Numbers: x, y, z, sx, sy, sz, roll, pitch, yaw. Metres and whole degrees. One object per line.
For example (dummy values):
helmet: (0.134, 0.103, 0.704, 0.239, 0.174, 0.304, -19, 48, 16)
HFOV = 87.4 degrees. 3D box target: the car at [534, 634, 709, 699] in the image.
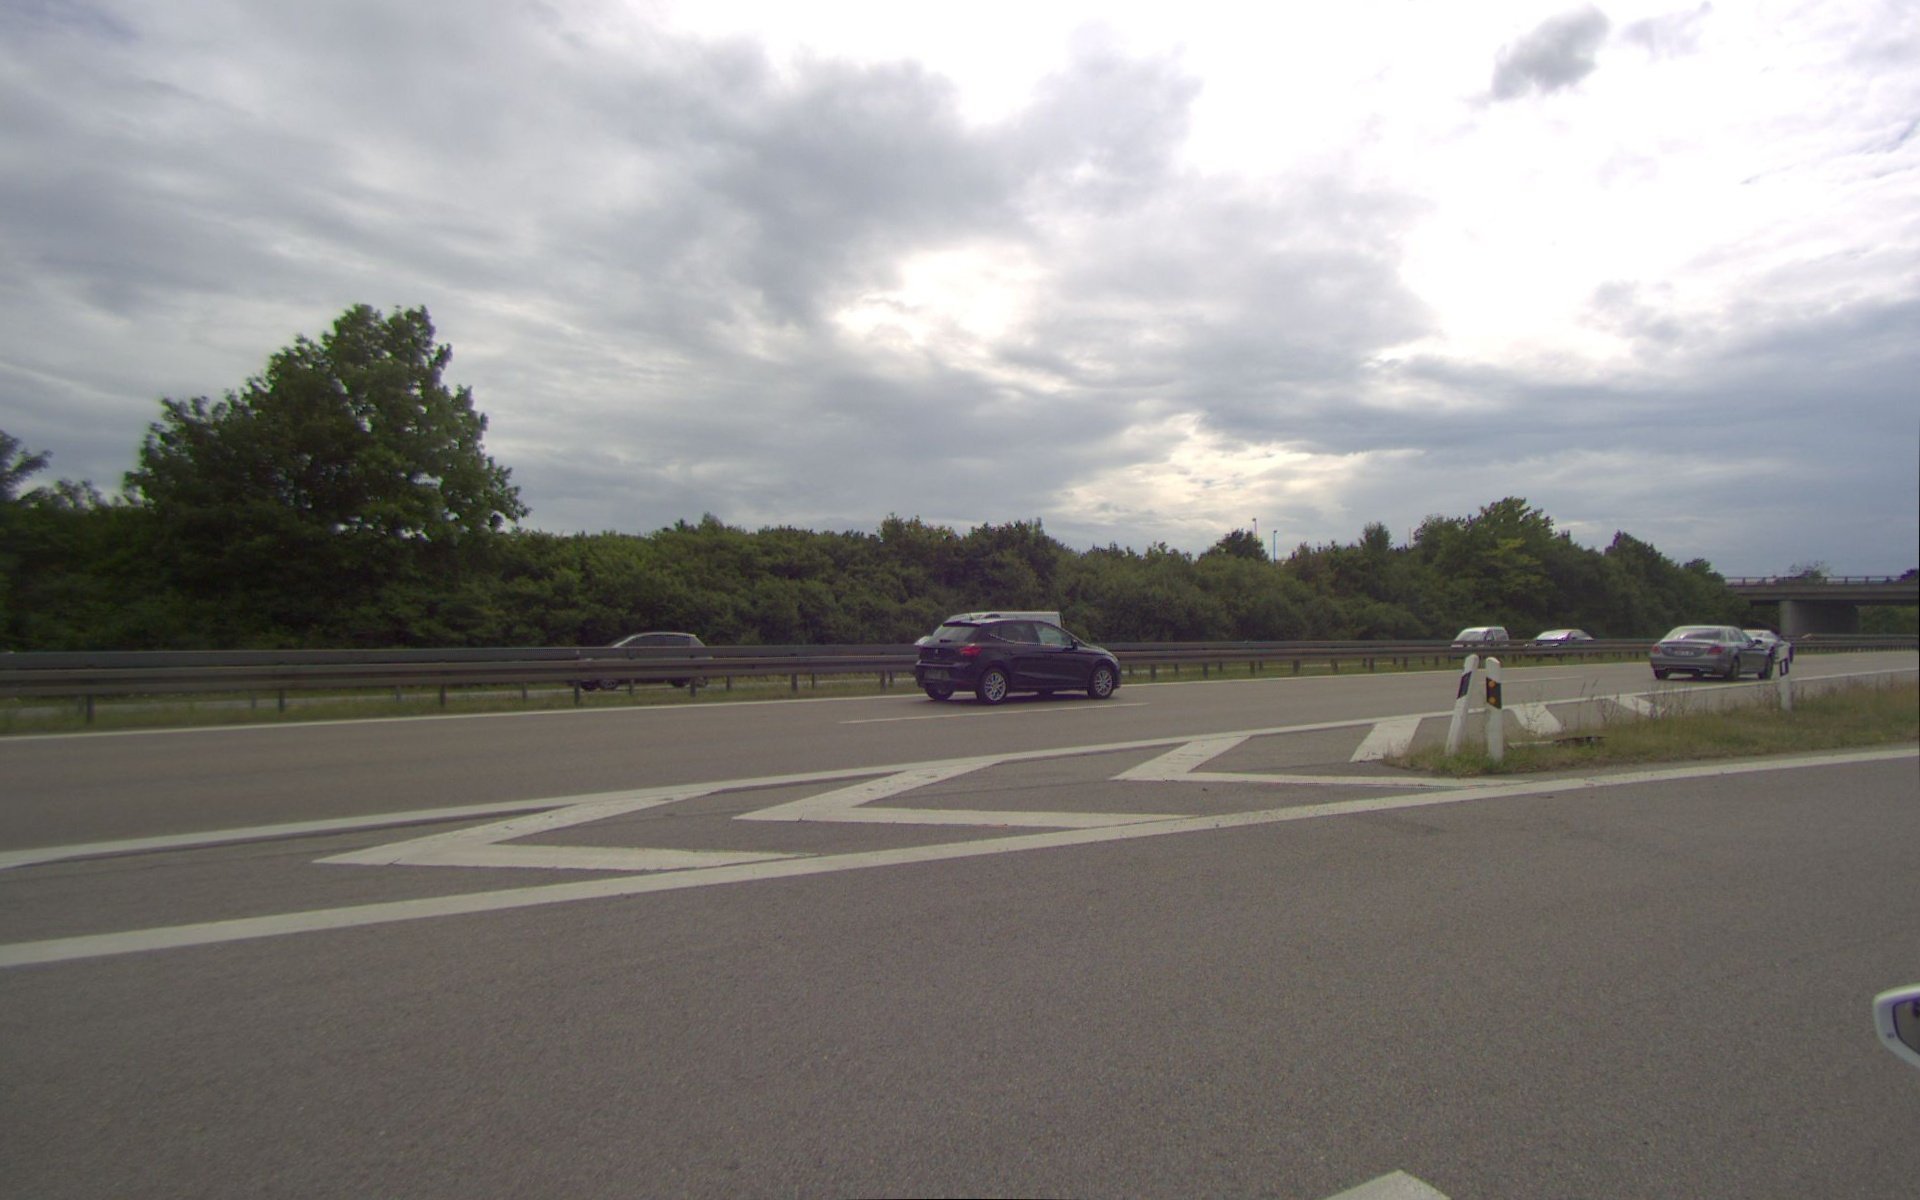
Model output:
car: (-8.858, 1.688, 26.385, 3.962, 1.539, 1.980, 1, -2, -37)

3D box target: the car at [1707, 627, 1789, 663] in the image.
car: (33.307, 1.880, 42.411, 4.268, 1.417, 1.766, 1, -2, -38)

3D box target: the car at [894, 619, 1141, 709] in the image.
car: (1.093, 1.074, 17.954, 4.264, 1.417, 1.768, 1, -1, -36)

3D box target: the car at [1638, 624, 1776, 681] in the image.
car: (20.261, 1.374, 27.181, 4.507, 1.417, 1.768, 1, -1, -36)

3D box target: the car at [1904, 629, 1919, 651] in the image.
car: (64.728, 2.684, 67.201, 4.269, 1.417, 1.766, 1, -2, -39)

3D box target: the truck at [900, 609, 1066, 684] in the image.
truck: (0.723, 1.315, 29.358, 4.676, 2.040, 1.979, 1, -2, -38)

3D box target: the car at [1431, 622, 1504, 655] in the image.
car: (27.011, 2.008, 53.407, 3.964, 1.673, 1.979, 1, -2, -38)
